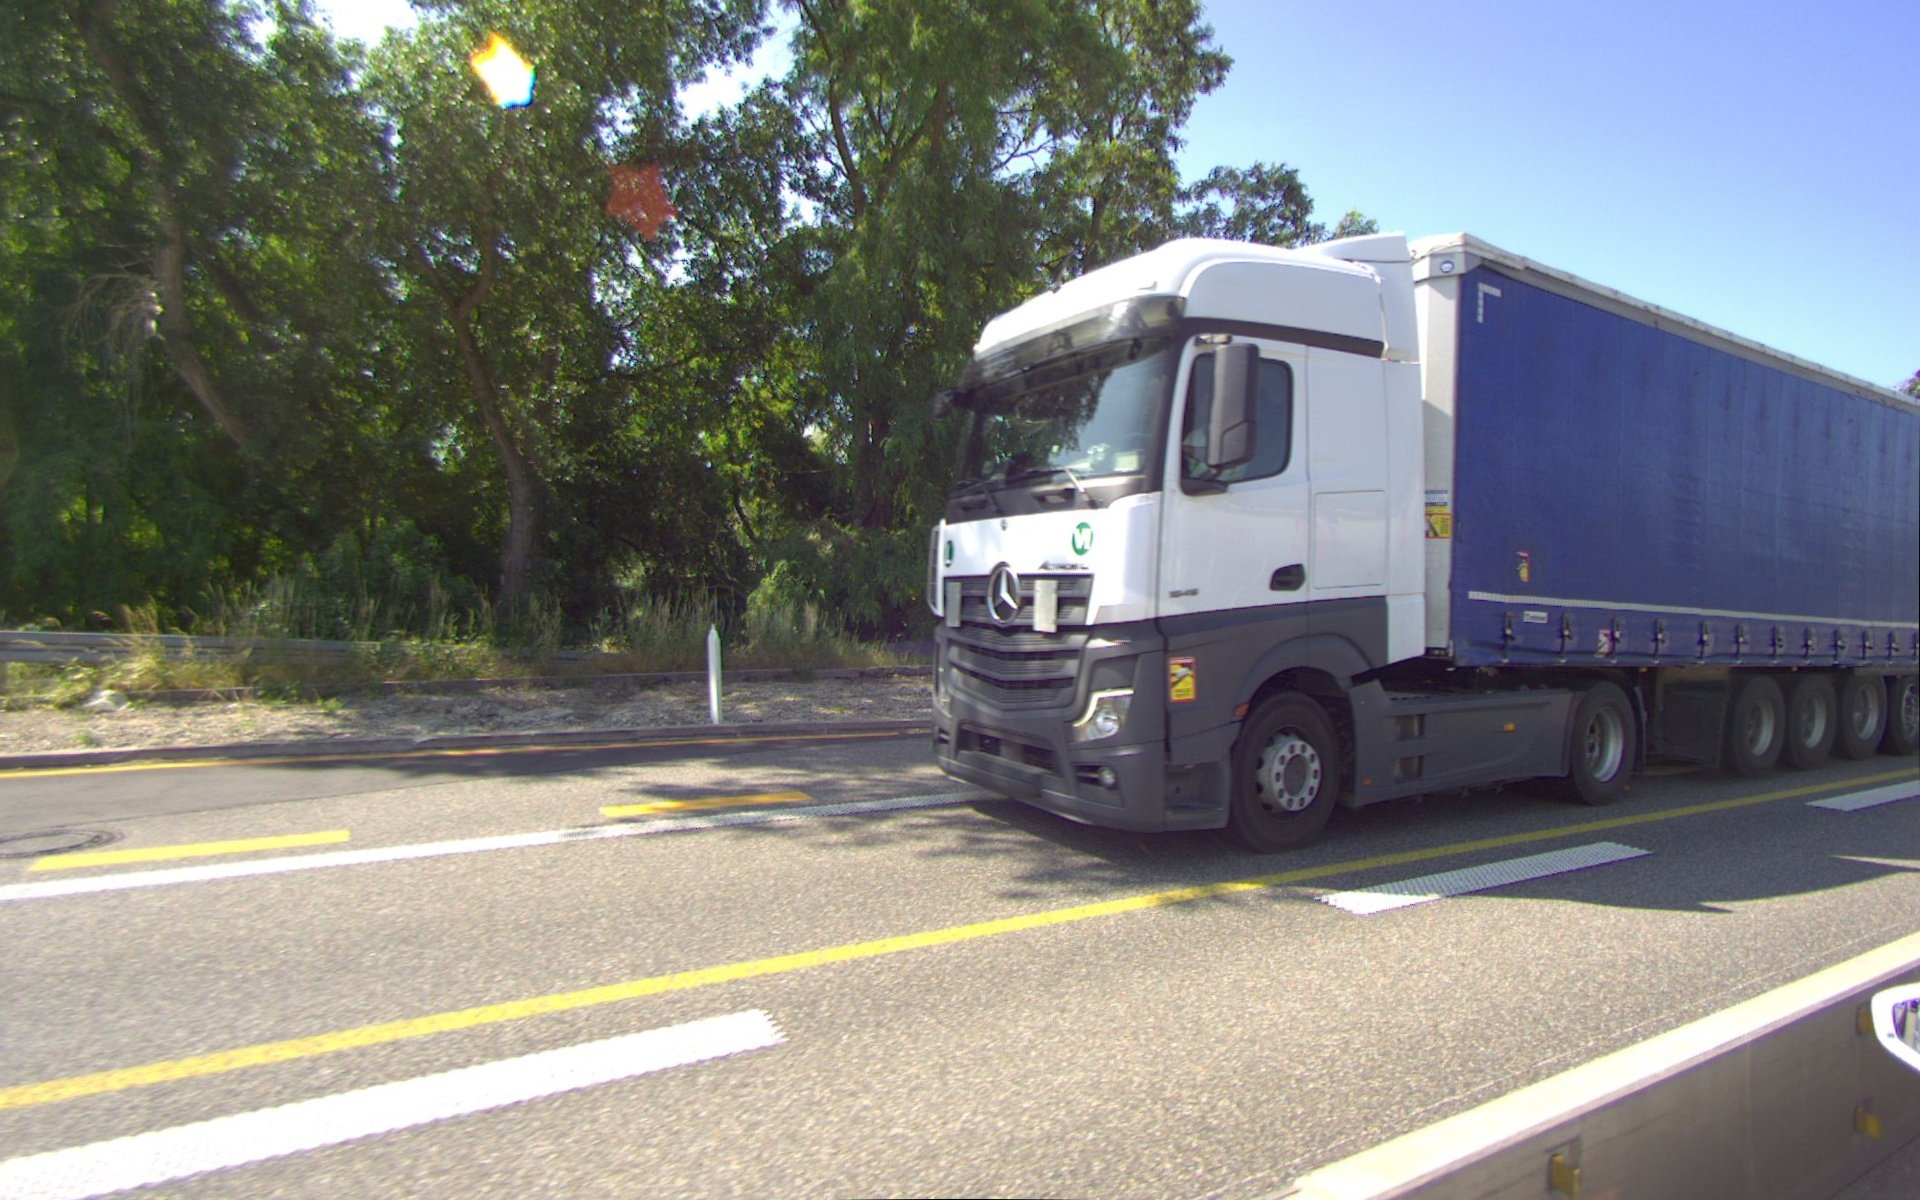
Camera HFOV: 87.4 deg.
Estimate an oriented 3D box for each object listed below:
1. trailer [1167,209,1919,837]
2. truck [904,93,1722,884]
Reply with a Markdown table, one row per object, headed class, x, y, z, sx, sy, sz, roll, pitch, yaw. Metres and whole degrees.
| class | x | y | z | sx | sy | sz | roll | pitch | yaw |
| --- | --- | --- | --- | --- | --- | --- | --- | --- | --- |
| trailer | 8.522 | -0.328 | 11.356 | 13.903 | 4.182 | 2.607 | 2 | 0 | -31 |
| truck | 3.042 | -0.510 | 8.085 | 6.430 | 4.182 | 2.607 | 2 | 0 | -30 |
